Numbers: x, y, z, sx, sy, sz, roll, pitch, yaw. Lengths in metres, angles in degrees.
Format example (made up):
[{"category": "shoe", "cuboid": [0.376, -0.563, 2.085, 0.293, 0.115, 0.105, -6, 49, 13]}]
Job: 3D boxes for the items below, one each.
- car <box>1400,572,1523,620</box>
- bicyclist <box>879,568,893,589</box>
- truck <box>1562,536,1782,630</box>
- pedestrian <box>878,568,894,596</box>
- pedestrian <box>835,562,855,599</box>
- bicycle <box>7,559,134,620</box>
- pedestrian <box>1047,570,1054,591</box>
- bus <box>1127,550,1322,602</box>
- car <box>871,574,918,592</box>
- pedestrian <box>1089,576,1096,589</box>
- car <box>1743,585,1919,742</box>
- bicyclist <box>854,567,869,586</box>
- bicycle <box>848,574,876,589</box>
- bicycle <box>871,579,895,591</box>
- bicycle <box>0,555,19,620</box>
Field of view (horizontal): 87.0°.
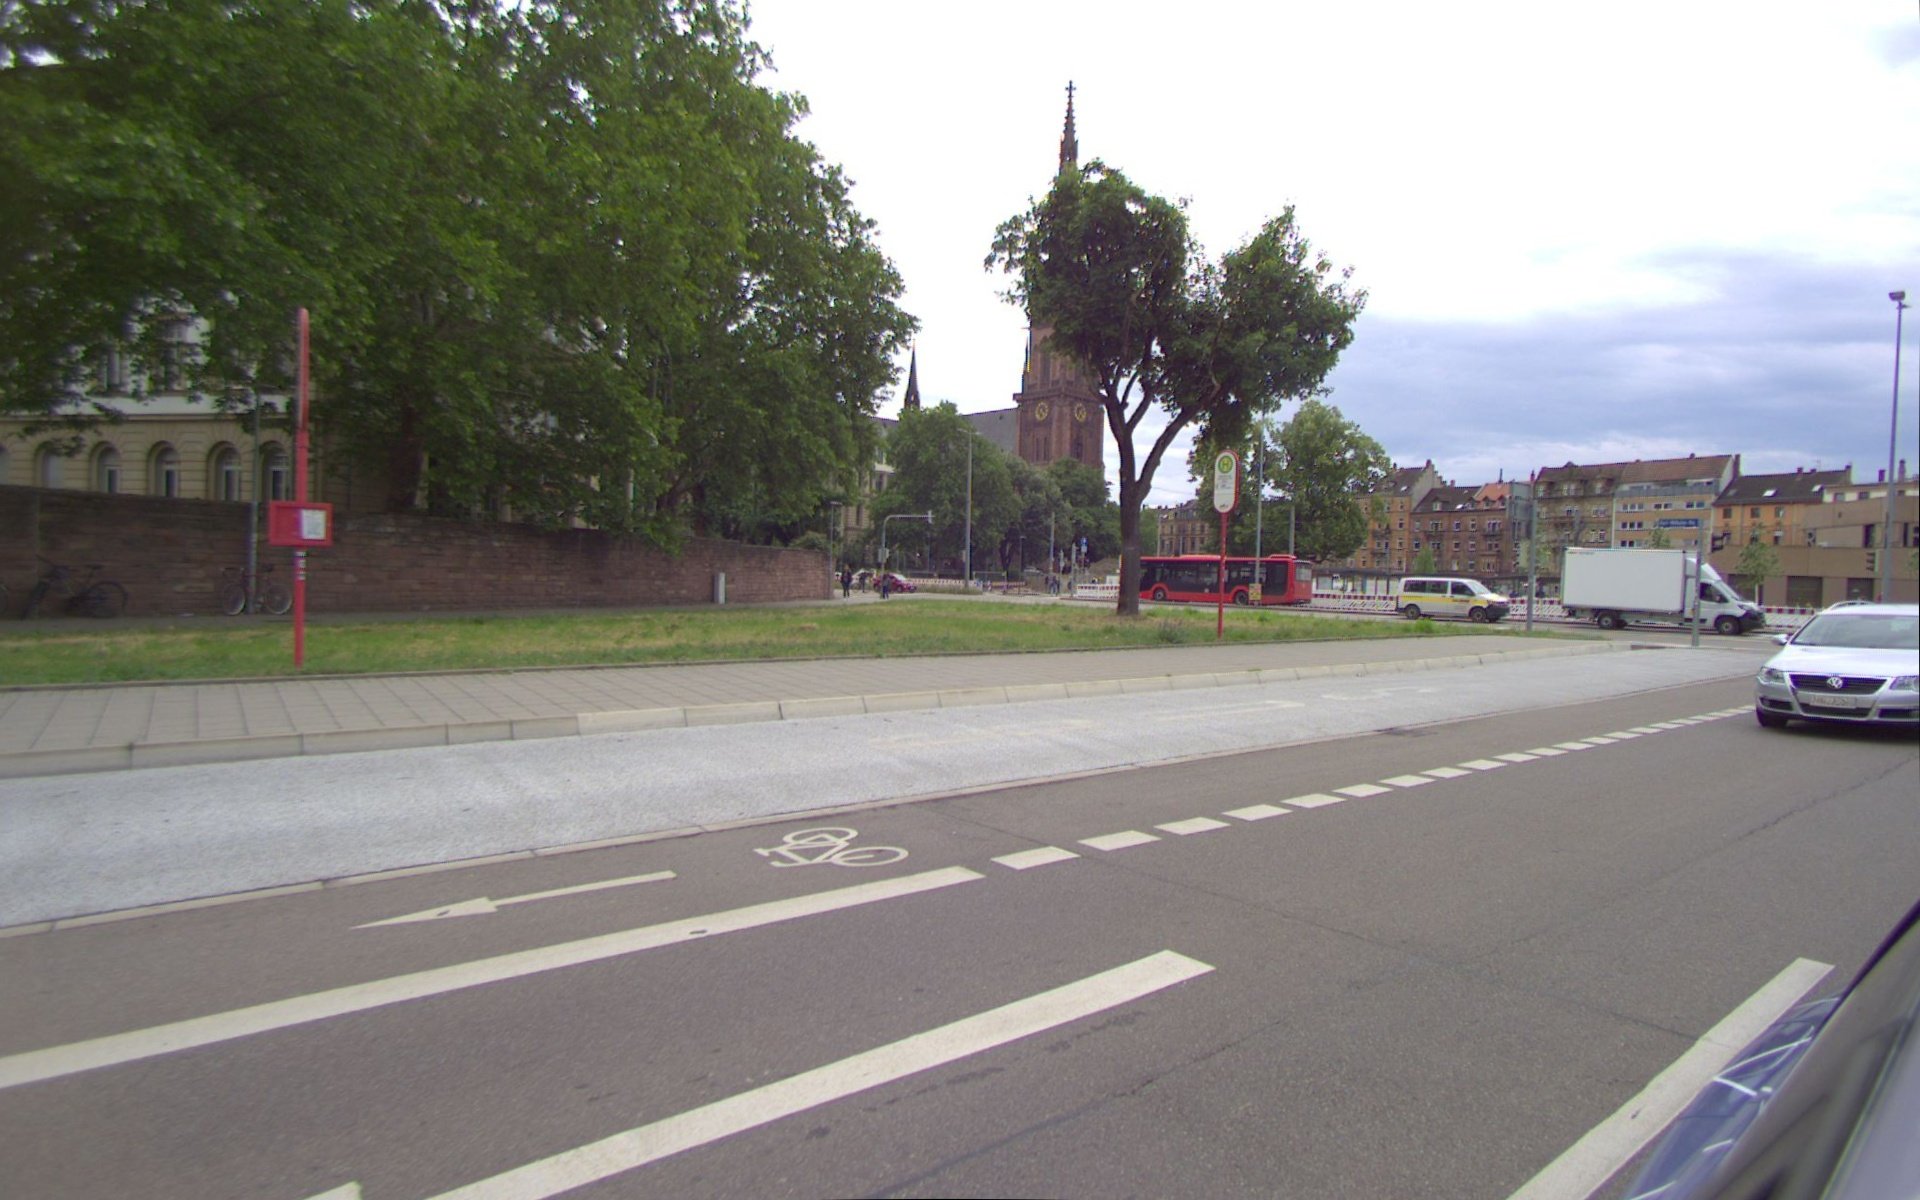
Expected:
[{"category": "car", "cuboid": [22.975, -0.239, 46.522, 1.889, 1.942, 4.704, -3, 4, -43]}, {"category": "bicyclist", "cuboid": [-5.489, -1.590, 74.774, 0.778, 1.540, 0.594, 4, 3, 37]}, {"category": "truck", "cuboid": [28.344, -0.760, 40.561, 2.518, 3.453, 6.841, -2, 3, -43]}, {"category": "pedestrian", "cuboid": [-4.563, -1.108, 62.221, 0.678, 1.659, 0.875, 2, 1, -24]}, {"category": "pedestrian", "cuboid": [-5.521, -0.943, 48.705, 0.744, 1.756, 0.823, 3, 2, 2]}, {"category": "bicycle", "cuboid": [-15.735, -0.197, 17.946, 0.545, 1.004, 1.625, 4, 3, 22]}, {"category": "pedestrian", "cuboid": [7.445, -1.609, 83.351, 0.365, 1.726, 0.373, 1, 3, -39]}, {"category": "bus", "cuboid": [15.983, -1.569, 62.455, 2.887, 2.944, 12.078, 1, 1, -41]}, {"category": "car", "cuboid": [-5.050, -1.334, 77.772, 3.523, 1.170, 1.426, 5, 3, 41]}, {"category": "pedestrian", "cuboid": [11.932, -1.581, 91.073, 0.365, 1.210, 0.373, 1, 3, -39]}, {"category": "car", "cuboid": [11.298, 0.623, 12.164, 4.443, 1.570, 1.830, -1, 1, -36]}, {"category": "bicyclist", "cuboid": [-7.469, -1.770, 76.898, 0.737, 1.373, 0.782, 5, 3, 38]}, {"category": "bicycle", "cuboid": [-7.464, -1.402, 76.895, 2.211, 1.051, 0.782, 5, 3, 38]}, {"category": "bicycle", "cuboid": [-5.670, -1.108, 74.909, 1.811, 0.830, 0.594, 5, 3, 37]}, {"category": "bicycle", "cuboid": [-16.486, -0.204, 16.407, 0.590, 1.072, 1.698, 4, 3, 25]}]
